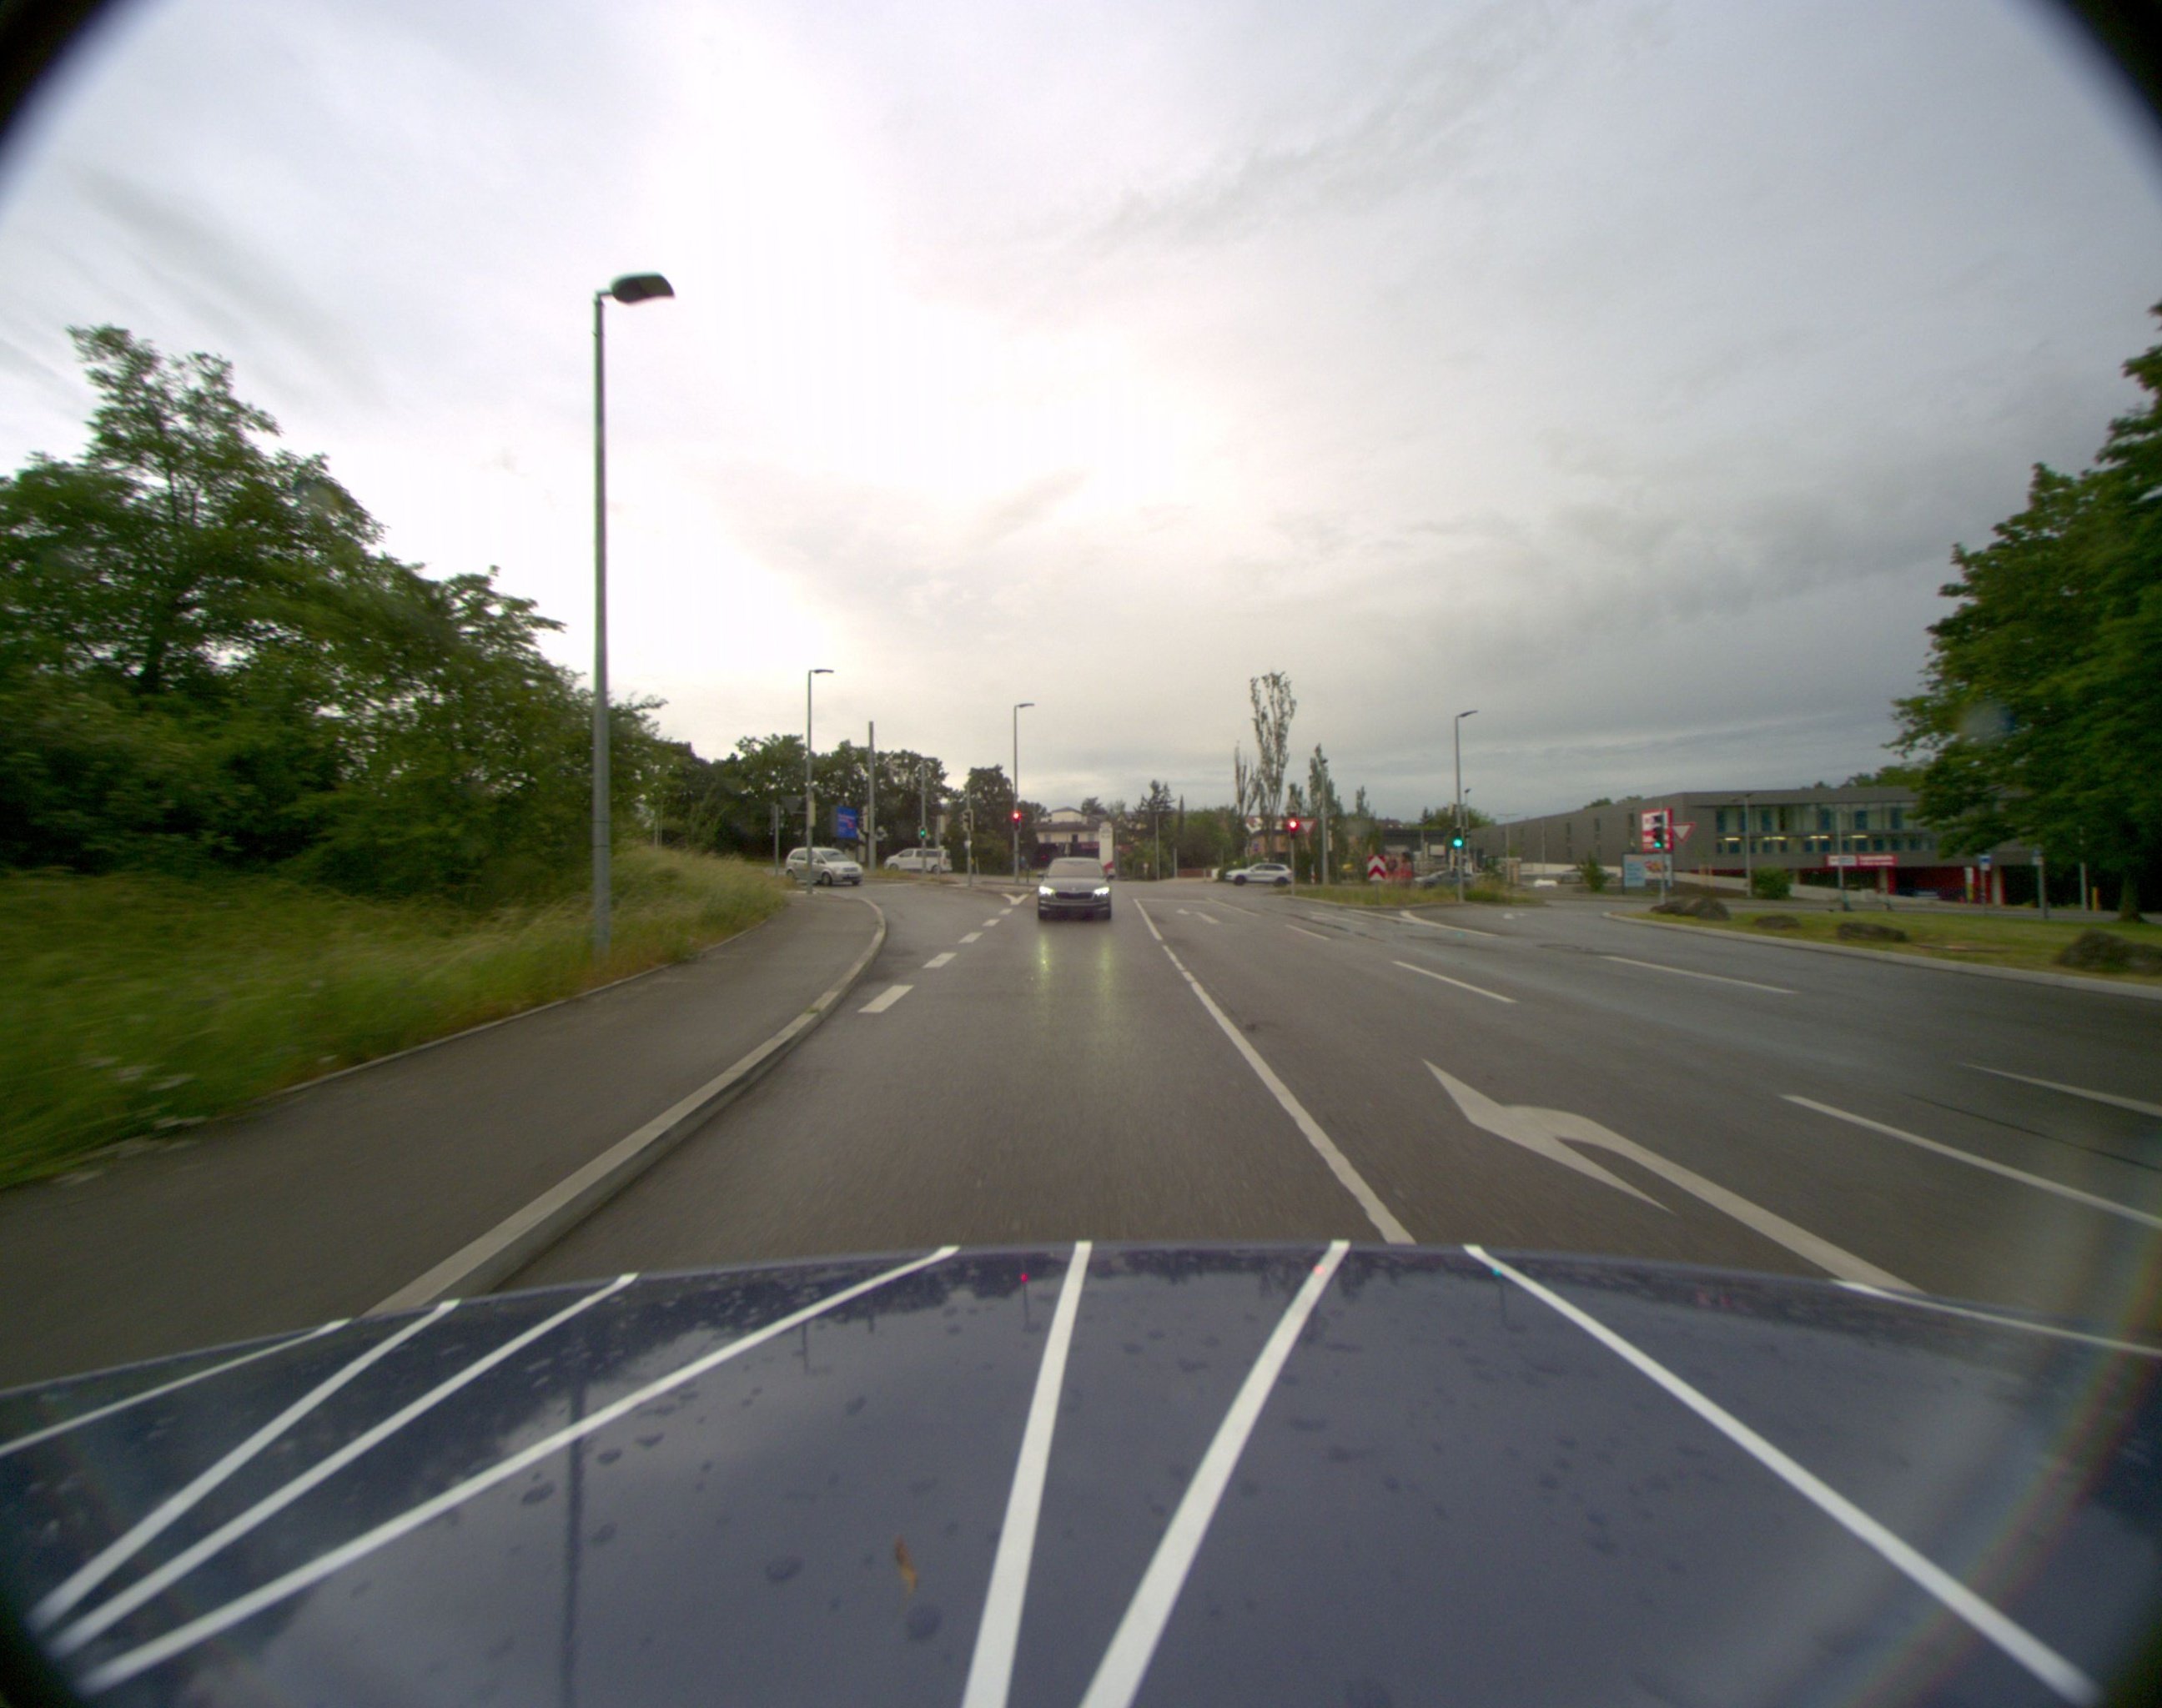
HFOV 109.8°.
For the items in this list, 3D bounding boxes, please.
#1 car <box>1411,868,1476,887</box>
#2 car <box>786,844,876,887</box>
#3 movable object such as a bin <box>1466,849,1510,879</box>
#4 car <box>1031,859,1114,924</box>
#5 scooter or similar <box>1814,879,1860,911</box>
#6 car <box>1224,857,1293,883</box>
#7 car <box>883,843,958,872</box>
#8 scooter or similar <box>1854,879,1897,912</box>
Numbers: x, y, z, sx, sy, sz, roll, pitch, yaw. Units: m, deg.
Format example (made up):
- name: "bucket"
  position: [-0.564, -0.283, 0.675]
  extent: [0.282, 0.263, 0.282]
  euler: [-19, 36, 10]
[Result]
- name: "car"
  position: [27.203, 1.781, 57.119]
  extent: [4.037, 1.396, 1.842]
  euler: [0, -1, 8]
- name: "car"
  position: [-11.198, 0.459, 33.914]
  extent: [4.050, 1.596, 1.826]
  euler: [3, 5, 38]
- name: "movable object such as a bin"
  position: [37.561, 0.935, 70.169]
  extent: [2.997, 2.611, 1.929]
  euler: [2, -1, 0]
- name: "car"
  position: [-0.097, 0.877, 19.354]
  extent: [1.838, 1.448, 4.203]
  euler: [-1, -1, 3]
- name: "scooter or similar"
  position: [30.364, 1.640, 30.534]
  extent: [1.357, 1.251, 0.549]
  euler: [2, -1, -5]
- name: "car"
  position: [12.822, 1.125, 55.015]
  extent: [4.619, 1.692, 1.841]
  euler: [2, -1, 6]
- name: "car"
  position: [-12.130, 0.258, 57.710]
  extent: [5.188, 2.022, 1.841]
  euler: [2, -1, 4]
- name: "scooter or similar"
  position: [31.829, 1.664, 30.437]
  extent: [1.226, 1.251, 0.517]
  euler: [2, -1, -5]
